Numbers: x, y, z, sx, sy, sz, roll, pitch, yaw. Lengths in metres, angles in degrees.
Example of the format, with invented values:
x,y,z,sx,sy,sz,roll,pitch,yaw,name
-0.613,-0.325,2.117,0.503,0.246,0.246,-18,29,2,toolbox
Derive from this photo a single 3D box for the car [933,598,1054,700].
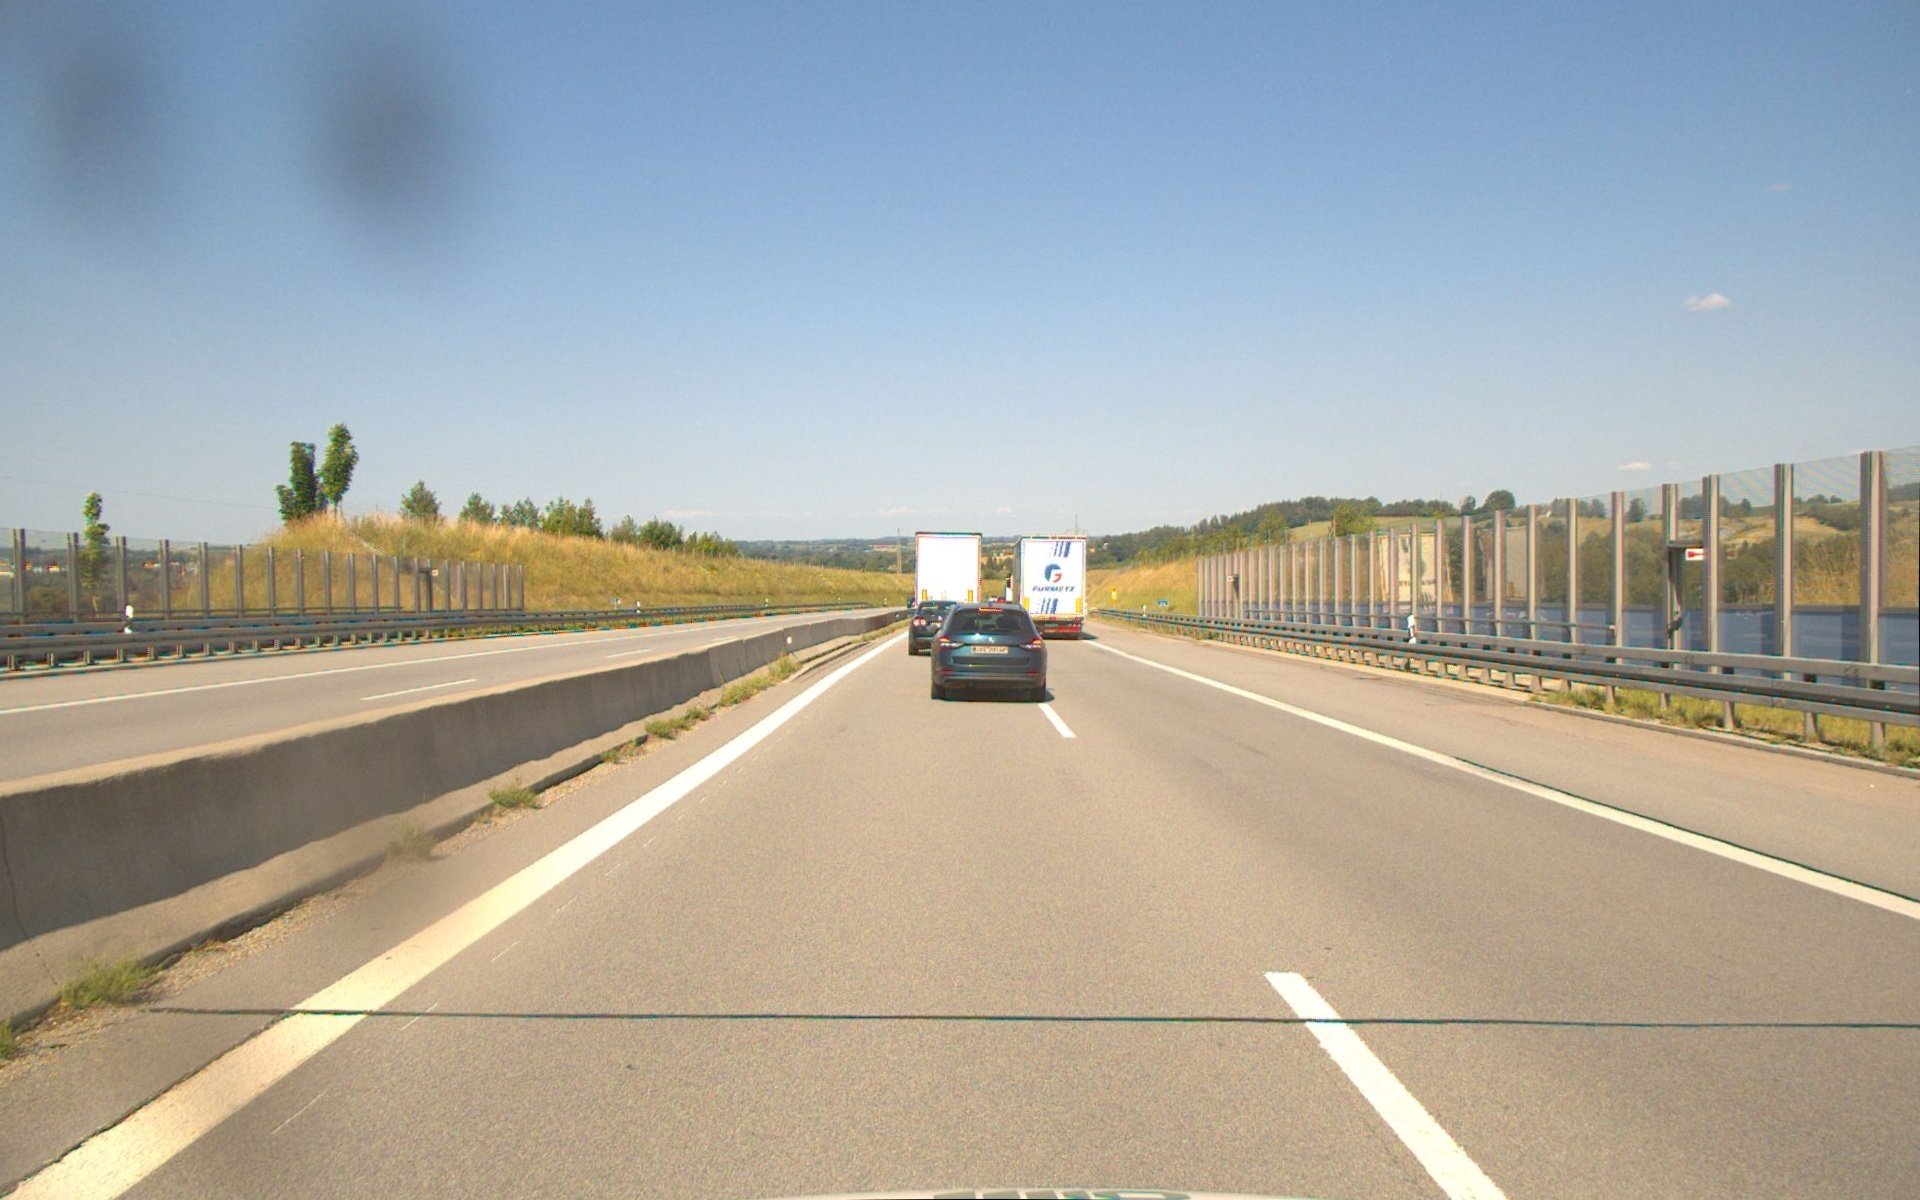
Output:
x,y,z,sx,sy,sz,roll,pitch,yaw,name
0.458,0.707,25.983,1.740,1.466,3.788,0,0,-1,car

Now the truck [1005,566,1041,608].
x,y,z,sx,sy,sz,roll,pitch,yaw,name
7.056,-1.435,186.036,3.530,4.457,11.234,-2,0,1,truck

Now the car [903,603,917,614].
x,y,z,sx,sy,sz,roll,pitch,yaw,name
-6.697,1.113,220.750,1.710,1.379,4.000,-2,0,0,car

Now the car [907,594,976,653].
x,y,z,sx,sy,sz,roll,pitch,yaw,name
-0.540,0.592,45.001,1.666,1.466,3.997,-2,0,-3,car

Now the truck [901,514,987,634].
x,y,z,sx,sy,sz,roll,pitch,yaw,name
-0.527,-1.022,68.691,3.145,4.457,11.234,-2,0,1,truck

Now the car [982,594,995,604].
x,y,z,sx,sy,sz,roll,pitch,yaw,name
4.042,-0.176,233.464,1.665,1.466,3.999,0,0,-1,car

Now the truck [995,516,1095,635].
x,y,z,sx,sy,sz,roll,pitch,yaw,name
3.386,-0.972,69.134,3.530,4.457,11.234,-2,0,1,truck
